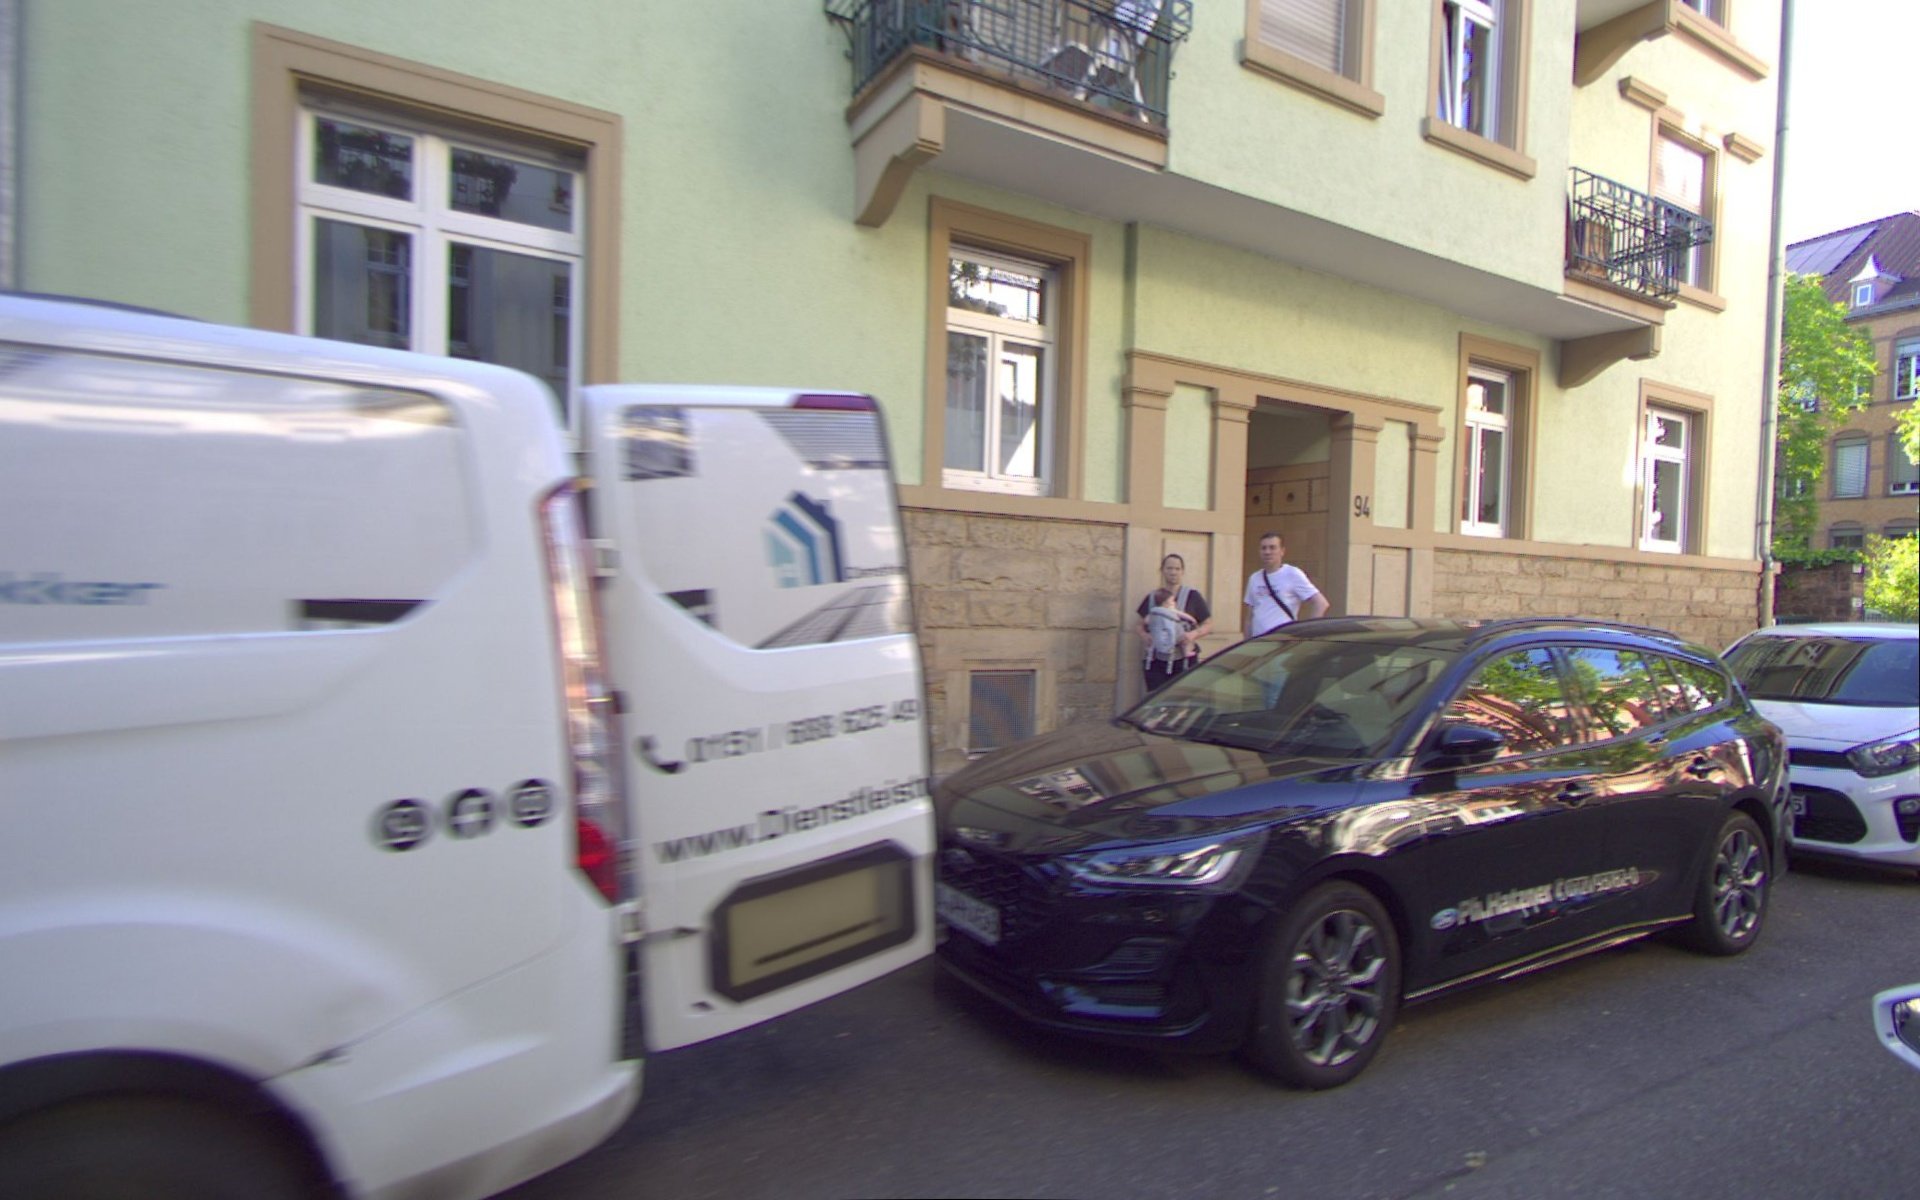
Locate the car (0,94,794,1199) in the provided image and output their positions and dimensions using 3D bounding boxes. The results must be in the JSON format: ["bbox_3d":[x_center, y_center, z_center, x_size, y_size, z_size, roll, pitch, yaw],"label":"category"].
[{"bbox_3d":[-3.132,0.351,1.657,5.185,2.197,2.239,2,-2,-32],"label":"car"}]

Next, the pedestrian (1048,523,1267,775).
[{"bbox_3d":[1.462,0.332,7.518,1.229,1.697,0.987,1,1,-30],"label":"pedestrian"}]

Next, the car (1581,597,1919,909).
[{"bbox_3d":[6.188,0.843,6.855,4.042,1.572,1.627,2,0,-31],"label":"car"}]

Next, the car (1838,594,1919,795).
[{"bbox_3d":[10.466,0.848,9.473,4.911,1.708,1.866,1,-1,-31],"label":"car"}]

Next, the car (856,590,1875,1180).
[{"bbox_3d":[2.070,0.789,4.592,4.768,1.542,1.758,1,0,-30],"label":"car"}]

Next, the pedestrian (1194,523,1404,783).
[{"bbox_3d":[2.689,0.385,8.009,1.229,1.886,0.987,1,1,-30],"label":"pedestrian"}]
